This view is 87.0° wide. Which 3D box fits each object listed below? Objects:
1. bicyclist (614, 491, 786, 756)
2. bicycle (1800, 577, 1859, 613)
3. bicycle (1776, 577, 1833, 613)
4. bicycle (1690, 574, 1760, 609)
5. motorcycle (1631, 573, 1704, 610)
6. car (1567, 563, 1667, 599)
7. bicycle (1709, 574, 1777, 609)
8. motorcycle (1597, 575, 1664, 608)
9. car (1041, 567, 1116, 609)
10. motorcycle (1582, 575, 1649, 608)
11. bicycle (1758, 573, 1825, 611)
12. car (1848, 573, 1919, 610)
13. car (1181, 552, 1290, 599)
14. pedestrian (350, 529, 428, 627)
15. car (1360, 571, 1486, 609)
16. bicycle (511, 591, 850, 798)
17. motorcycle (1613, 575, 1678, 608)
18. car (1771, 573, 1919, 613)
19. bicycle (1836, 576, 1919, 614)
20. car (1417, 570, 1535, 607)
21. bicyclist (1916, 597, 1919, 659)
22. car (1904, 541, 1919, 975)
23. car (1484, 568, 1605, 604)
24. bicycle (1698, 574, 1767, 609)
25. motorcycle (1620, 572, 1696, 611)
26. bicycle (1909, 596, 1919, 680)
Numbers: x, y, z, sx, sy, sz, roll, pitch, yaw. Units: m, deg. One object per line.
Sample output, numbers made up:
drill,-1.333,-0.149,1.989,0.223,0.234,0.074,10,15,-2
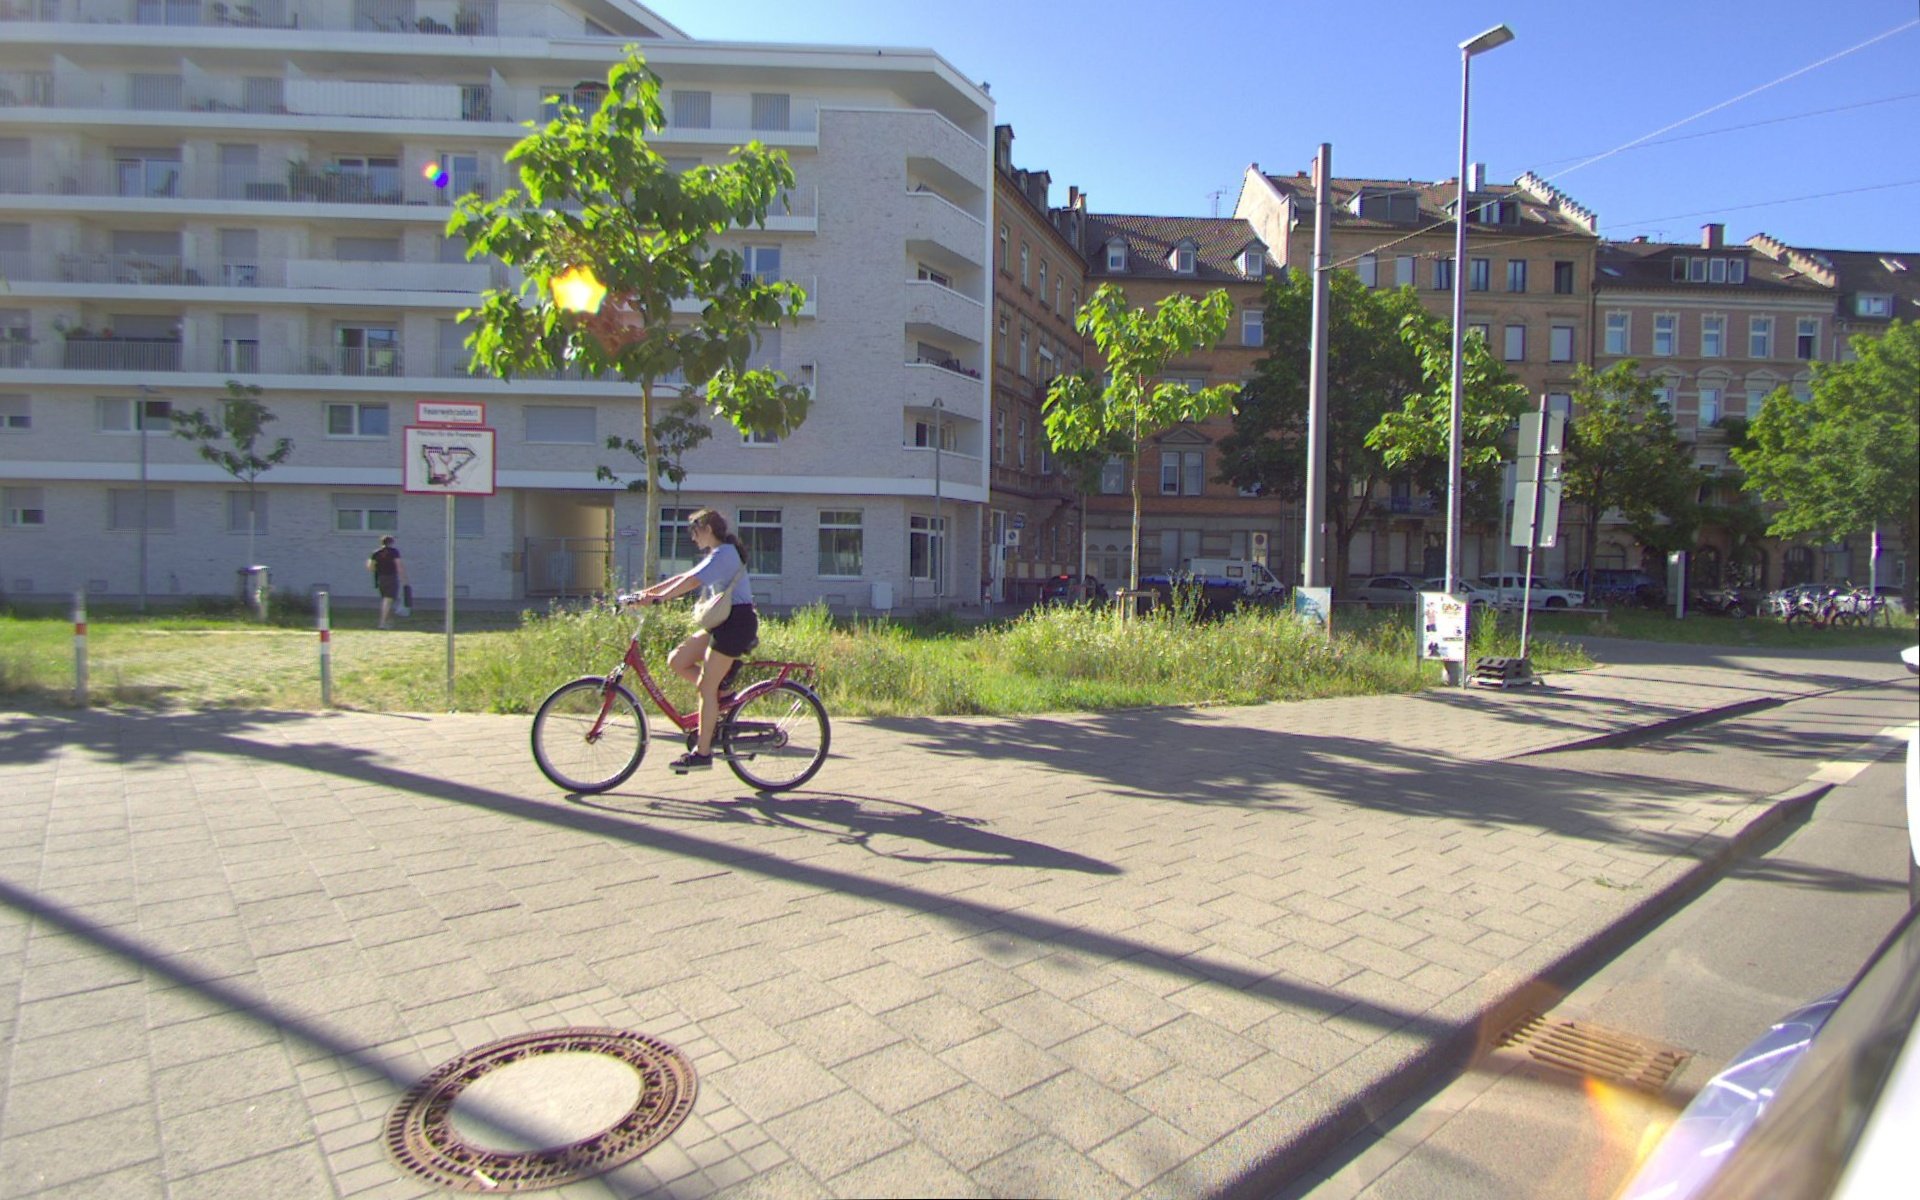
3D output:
bicyclist,-1.512,0.123,5.958,0.920,1.454,0.670,0,1,-12
bicycle,32.030,-0.196,37.329,0.653,1.284,2.196,0,0,12
bicycle,30.936,-0.188,37.106,0.653,1.284,2.196,0,0,12
bicycle,28.365,-0.313,37.560,0.649,1.284,2.208,0,0,-11
motorcycle,26.149,-0.323,37.464,0.649,1.339,2.208,0,0,-23
car,30.871,-0.923,47.645,3.631,1.607,1.552,1,2,0
bicycle,29.719,-0.328,38.459,0.649,1.284,2.208,0,0,-9
motorcycle,26.692,-0.339,40.352,0.649,1.300,2.324,0,0,-18
car,4.562,-0.507,38.294,1.811,1.444,4.359,1,2,21
motorcycle,26.022,-0.331,40.221,0.649,1.293,2.324,0,0,-18
bicycle,29.269,-0.295,35.669,0.651,1.284,2.202,0,0,4
car,37.817,-0.332,39.957,1.649,1.423,3.832,-1,3,-32
car,12.656,-1.156,46.779,4.416,2.062,2.054,1,2,0
pedestrian,-10.449,-0.408,18.538,0.829,1.717,0.985,2,2,2
car,17.344,-0.424,38.103,1.648,1.267,4.170,0,3,-28
bicycle,-1.590,0.516,5.910,1.782,1.085,0.670,1,1,-14
motorcycle,27.483,-0.337,40.606,0.649,1.284,2.209,0,0,-18
car,34.681,-0.323,39.587,1.651,1.423,4.324,-1,3,-38
bicycle,31.624,-0.169,34.758,2.180,1.284,0.657,0,0,25
car,19.667,-0.470,38.713,1.648,1.267,3.709,0,3,-28
bicyclist,16.495,0.119,16.741,1.073,1.747,0.717,1,2,-35
car,5.863,0.607,4.712,4.323,1.667,1.840,0,0,-43
car,22.324,-0.581,38.769,1.513,1.267,3.700,-1,3,-39
bicycle,29.076,-0.322,38.147,0.649,1.284,2.208,0,0,-9
motorcycle,25.333,-0.308,36.775,0.650,1.347,2.207,0,0,-28
bicycle,16.408,0.636,16.707,1.716,1.343,0.717,0,2,-36
